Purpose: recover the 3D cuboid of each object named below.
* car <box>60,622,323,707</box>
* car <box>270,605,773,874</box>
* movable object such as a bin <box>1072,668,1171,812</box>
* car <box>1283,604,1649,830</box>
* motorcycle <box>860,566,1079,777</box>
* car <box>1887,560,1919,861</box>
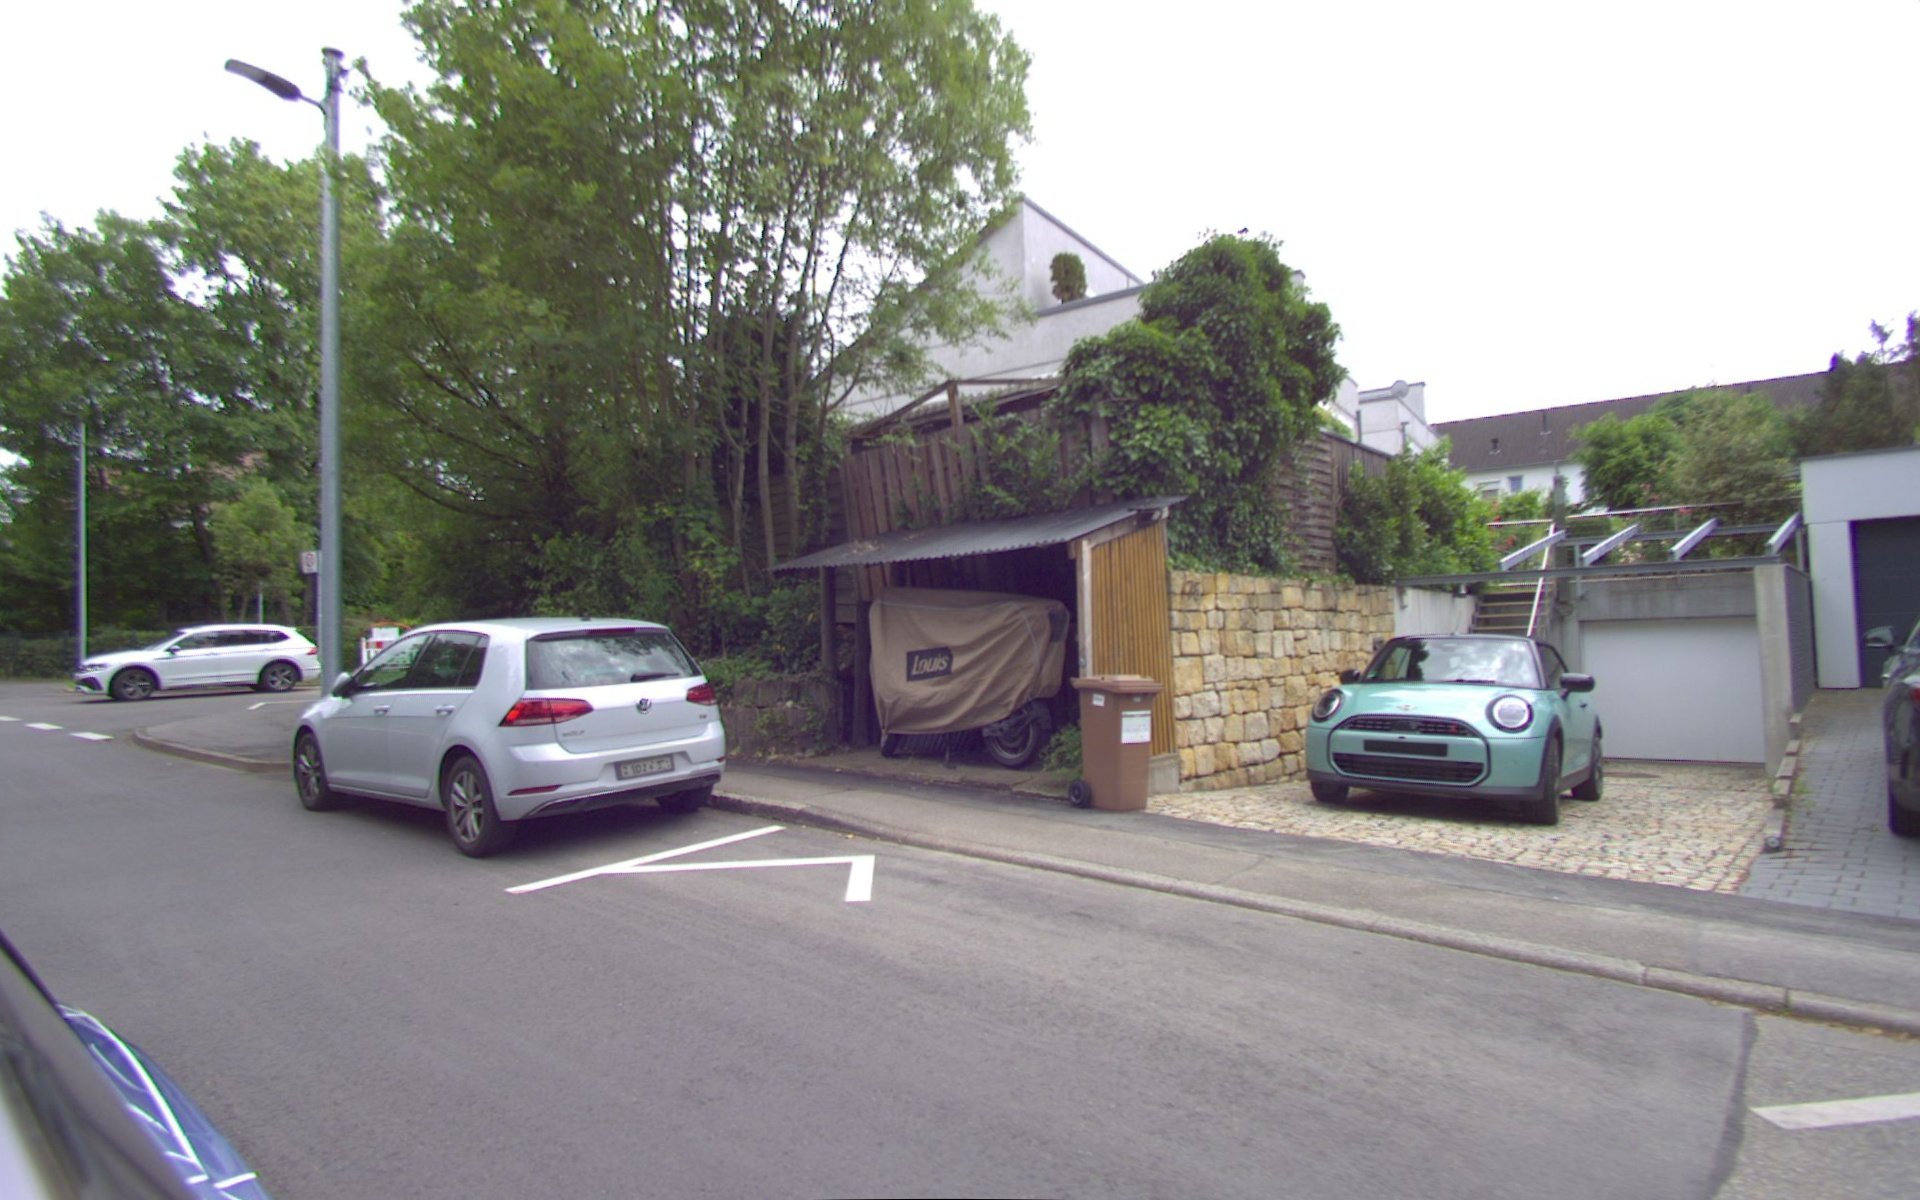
[{"bbox_3d":[-18.002,1.435,23.898,1.999,1.701,4.646,-2,-1,41],"label":"car"},{"bbox_3d":[-3.400,0.824,7.505,4.039,1.460,1.743,-2,-1,39],"label":"car"},{"bbox_3d":[1.108,0.941,6.967,0.362,0.931,0.556,5,-5,-44],"label":"movable object such as a bin"},{"bbox_3d":[4.343,0.921,8.383,1.821,1.397,3.913,-3,-7,40],"label":"car"},{"bbox_3d":[0.032,0.563,8.426,1.911,1.594,0.478,-2,-1,39],"label":"motorcycle"},{"bbox_3d":[6.829,0.438,5.960,1.891,1.397,4.555,-3,0,44],"label":"car"}]
